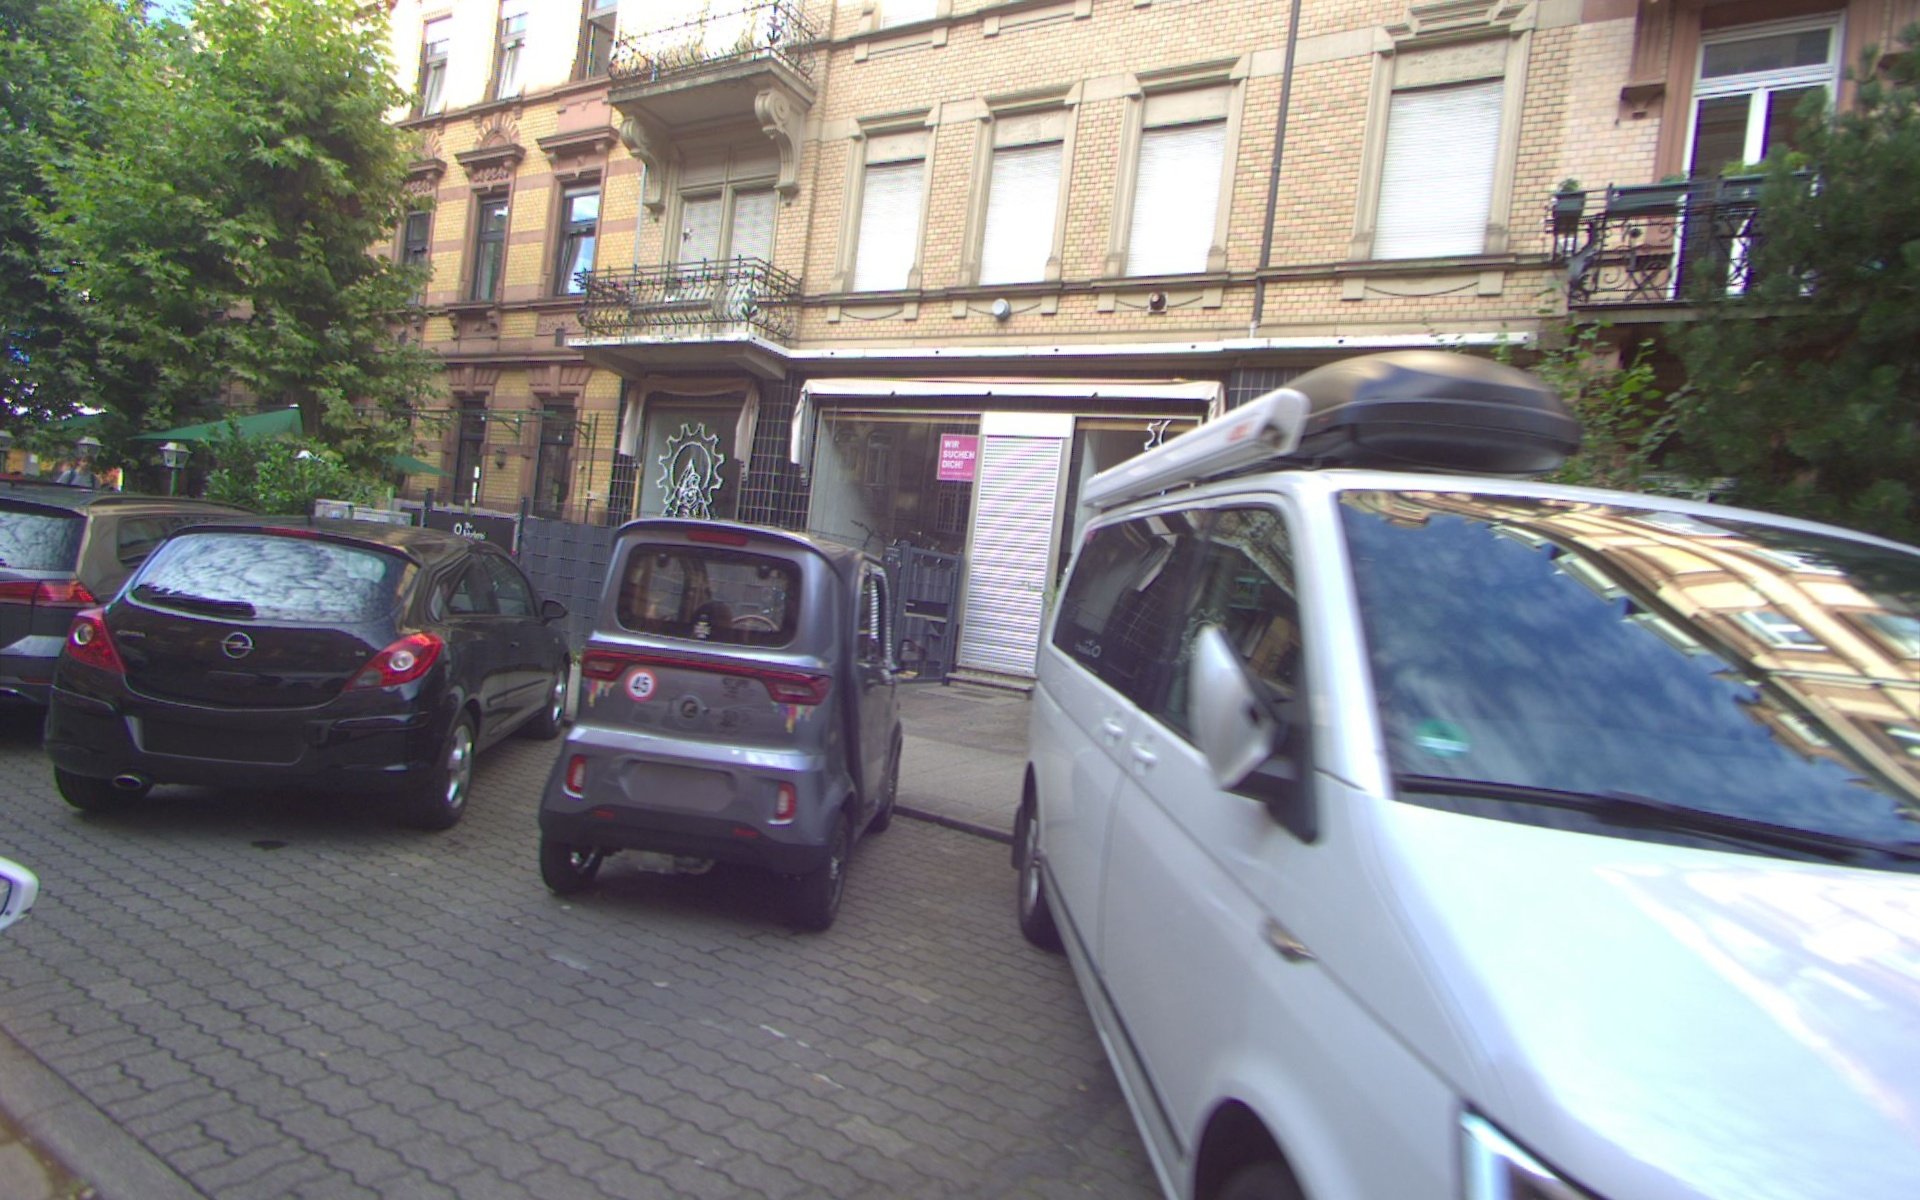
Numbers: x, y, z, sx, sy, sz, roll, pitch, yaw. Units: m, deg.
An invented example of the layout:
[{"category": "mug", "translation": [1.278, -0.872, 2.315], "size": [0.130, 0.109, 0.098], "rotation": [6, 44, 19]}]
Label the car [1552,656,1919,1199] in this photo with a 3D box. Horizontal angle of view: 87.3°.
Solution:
[{"category": "car", "translation": [3.708, 1.144, 2.248], "size": [1.840, 1.567, 4.234], "rotation": [8, -1, -5]}]

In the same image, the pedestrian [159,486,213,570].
[{"category": "pedestrian", "translation": [-16.230, -1.496, 21.095], "size": [0.553, 1.665, 0.646], "rotation": [7, 4, 26]}]

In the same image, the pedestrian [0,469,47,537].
[{"category": "pedestrian", "translation": [-21.466, -2.211, 22.922], "size": [0.745, 1.424, 0.673], "rotation": [7, 1, 26]}]

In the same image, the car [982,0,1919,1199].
[{"category": "car", "translation": [1.310, 0.373, 3.100], "size": [1.883, 2.436, 5.155], "rotation": [6, 1, -3]}]

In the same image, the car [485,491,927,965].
[{"category": "car", "translation": [-1.053, 0.447, 5.147], "size": [1.321, 1.689, 2.465], "rotation": [8, 4, 4]}]

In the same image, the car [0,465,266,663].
[{"category": "car", "translation": [-8.407, -0.403, 8.711], "size": [1.846, 1.484, 4.461], "rotation": [7, 2, -4]}]

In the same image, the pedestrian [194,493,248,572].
[{"category": "pedestrian", "translation": [-15.928, -1.454, 21.680], "size": [0.560, 1.590, 0.629], "rotation": [7, 2, 26]}]

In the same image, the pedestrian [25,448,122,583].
[{"category": "pedestrian", "translation": [-13.420, -1.272, 15.232], "size": [0.711, 1.902, 0.839], "rotation": [8, 2, 34]}]

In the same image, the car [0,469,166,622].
[{"category": "car", "translation": [-10.575, -0.652, 10.600], "size": [1.711, 1.504, 3.711], "rotation": [7, 2, -8]}]

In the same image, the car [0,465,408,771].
[{"category": "car", "translation": [-5.936, -0.096, 7.317], "size": [1.857, 1.497, 4.455], "rotation": [7, 3, -9]}]

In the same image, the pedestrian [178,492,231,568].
[{"category": "pedestrian", "translation": [-16.717, -1.541, 22.260], "size": [0.560, 1.590, 0.629], "rotation": [7, 2, 26]}]

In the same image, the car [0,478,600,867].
[{"category": "car", "translation": [-3.512, 0.259, 6.189], "size": [1.722, 1.478, 3.983], "rotation": [7, 1, -11]}]

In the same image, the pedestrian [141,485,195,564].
[{"category": "pedestrian", "translation": [-17.026, -1.610, 21.630], "size": [0.560, 1.590, 0.629], "rotation": [7, 2, 26]}]
